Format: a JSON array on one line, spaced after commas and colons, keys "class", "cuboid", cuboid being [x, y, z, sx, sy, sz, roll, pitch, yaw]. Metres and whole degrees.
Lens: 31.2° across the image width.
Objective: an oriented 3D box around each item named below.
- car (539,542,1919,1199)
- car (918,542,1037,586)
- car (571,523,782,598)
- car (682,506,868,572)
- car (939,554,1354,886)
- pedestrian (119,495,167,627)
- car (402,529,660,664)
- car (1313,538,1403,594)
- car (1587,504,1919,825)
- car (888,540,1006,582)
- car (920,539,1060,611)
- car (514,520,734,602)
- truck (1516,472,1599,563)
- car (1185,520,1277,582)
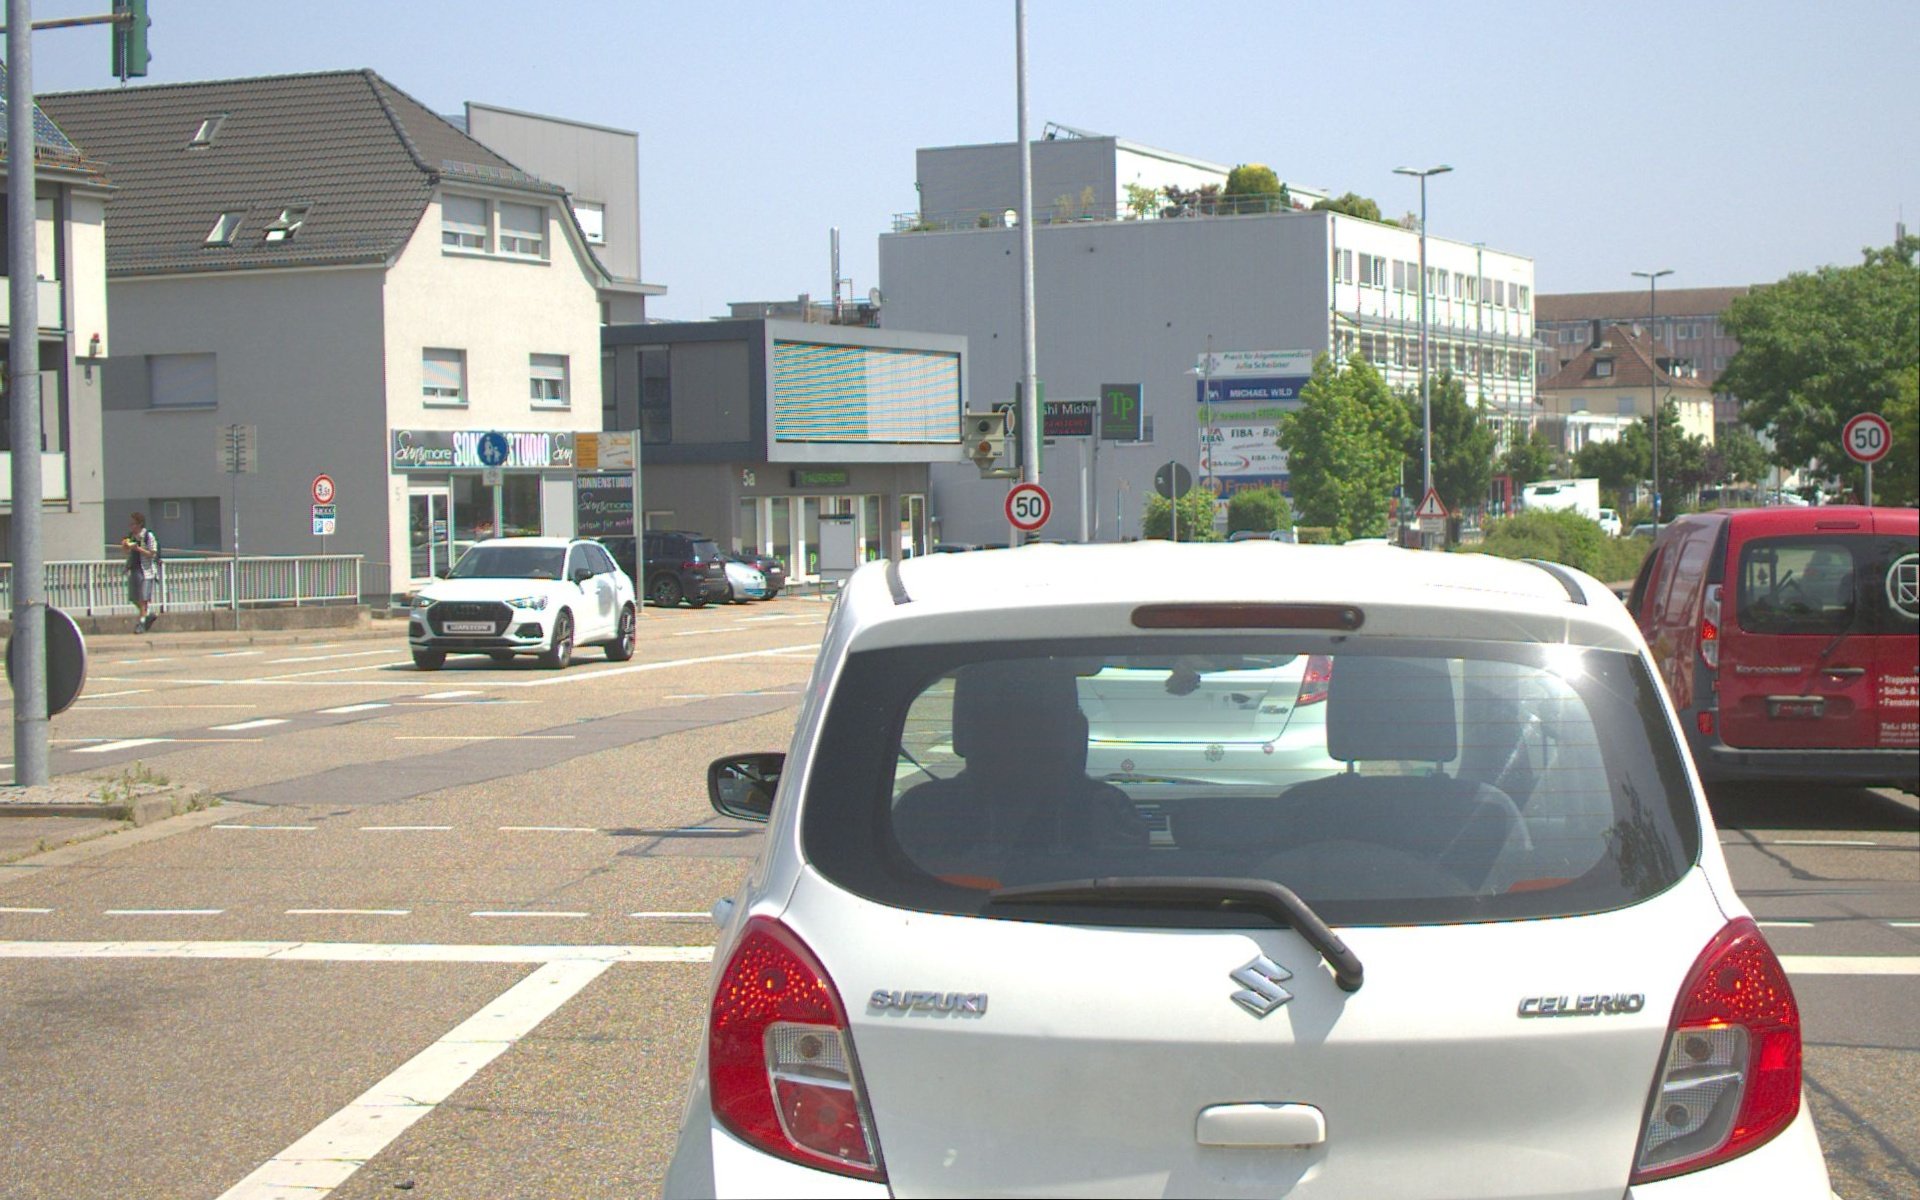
[{"class": "car", "cuboid": [0.386, 0.680, 5.754, 1.712, 1.505, 3.247, 1, 1, 1]}, {"class": "car", "cuboid": [0.668, -1.361, 130.800, 3.978, 1.462, 2.071, -2, 1, 20]}, {"class": "car", "cuboid": [-6.725, -0.963, 81.679, 4.609, 1.491, 1.751, 3, 3, 14]}, {"class": "car", "cuboid": [-4.519, -1.495, 84.199, 4.060, 1.516, 1.998, -1, 1, 19]}, {"class": "car", "cuboid": [1.059, 0.508, 17.490, 1.830, 1.445, 3.999, 1, 1, 7]}, {"class": "pedestrian", "cuboid": [-12.673, -0.610, 53.339, 0.502, 2.006, 0.743, 1, 2, 6]}, {"class": "car", "cuboid": [-5.263, -0.083, 42.774, 1.818, 1.564, 4.553, 1, 1, 12]}, {"class": "car", "cuboid": [10.499, -0.910, 90.425, 1.864, 1.426, 4.742, 1, 1, 12]}, {"class": "car", "cuboid": [4.887, 0.309, 20.542, 1.795, 1.723, 3.972, 0, 1, 4]}, {"class": "car", "cuboid": [-0.474, -1.451, 127.639, 3.975, 1.462, 1.962, -1, 2, 17]}, {"class": "car", "cuboid": [0.631, -0.520, 68.720, 1.864, 1.361, 4.344, 1, 1, 13]}, {"class": "car", "cuboid": [-7.675, -0.905, 78.449, 4.611, 1.621, 1.852, 3, 2, 22]}, {"class": "truck", "cuboid": [23.356, -3.167, 134.124, 2.266, 3.406, 7.033, 1, 1, 17]}, {"class": "car", "cuboid": [7.669, -1.406, 97.048, 1.994, 1.650, 4.591, -1, 1, 12]}]
